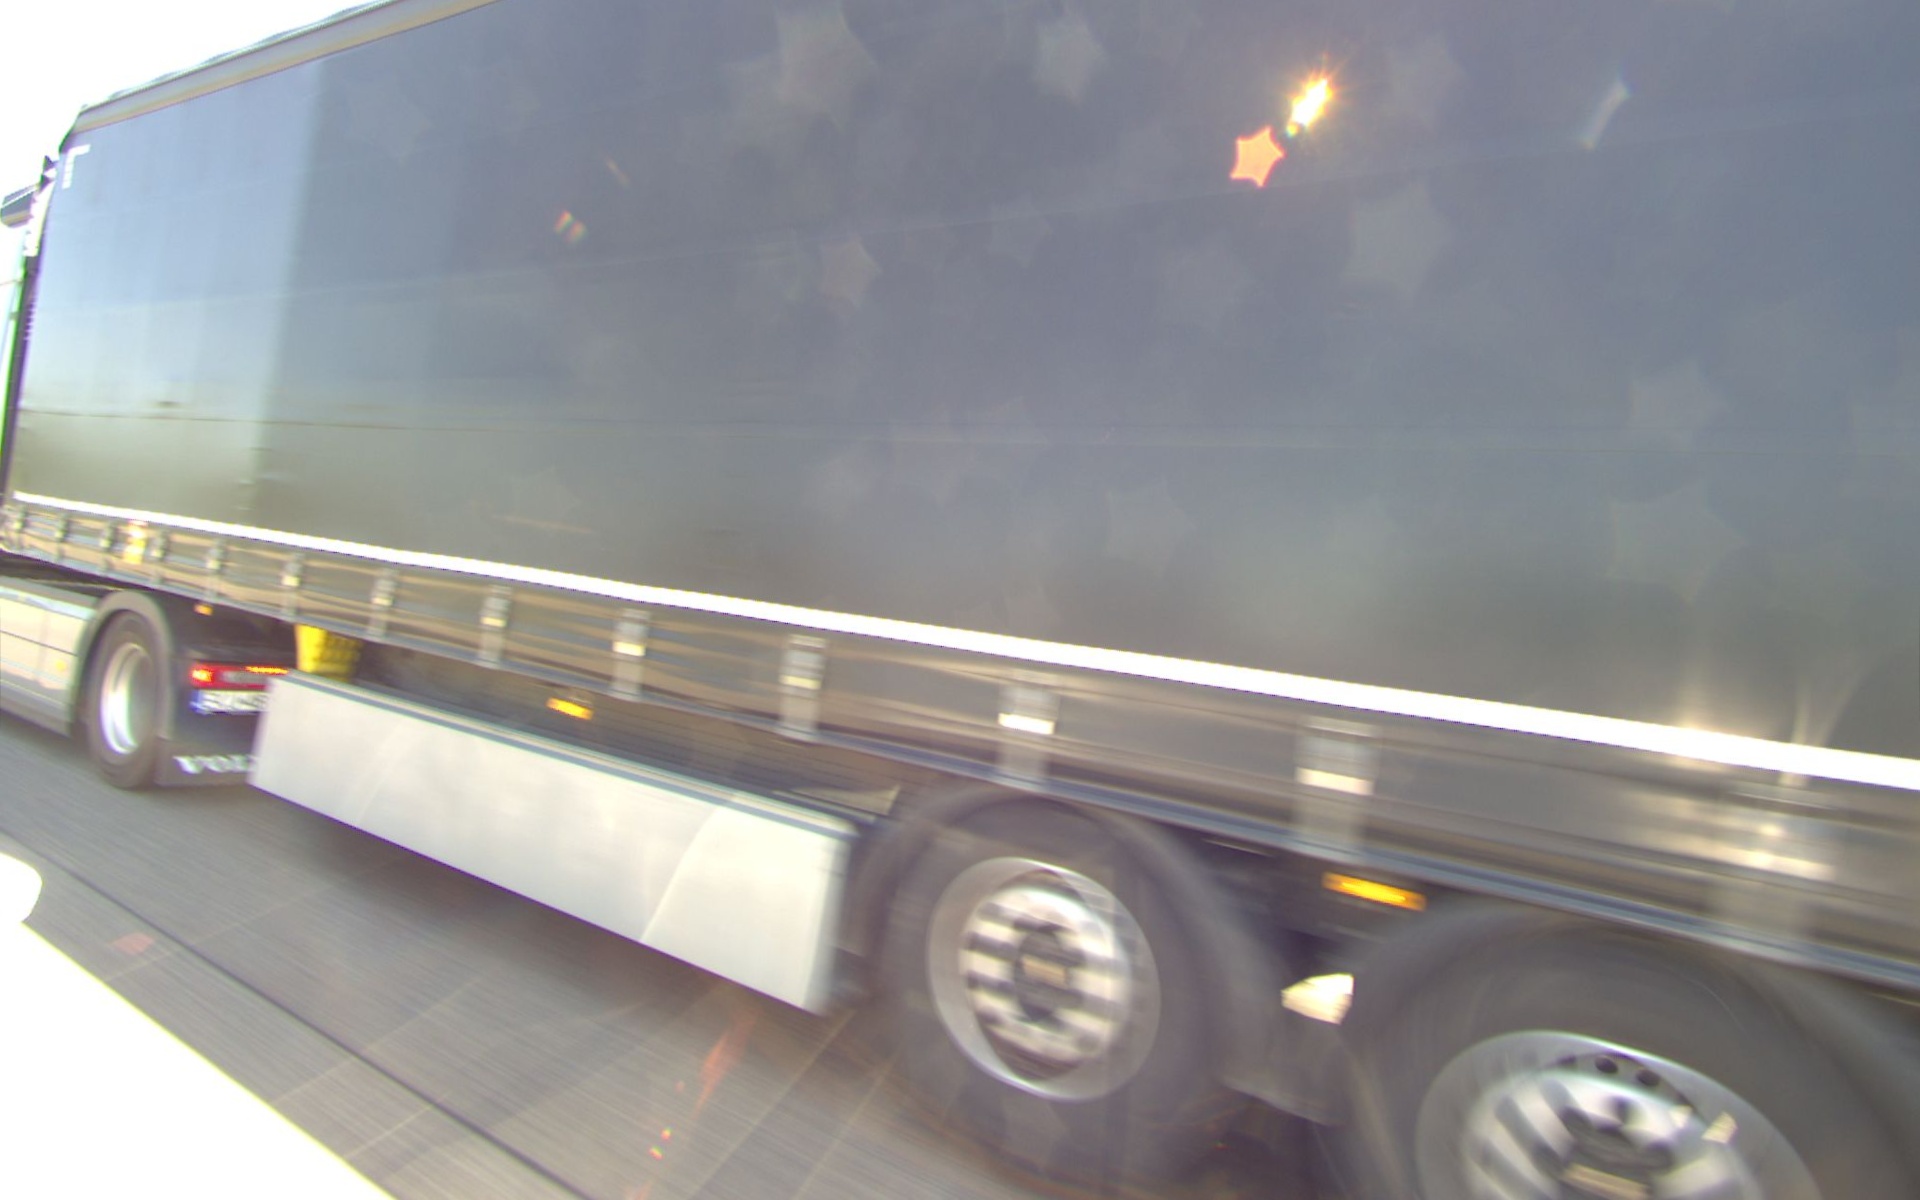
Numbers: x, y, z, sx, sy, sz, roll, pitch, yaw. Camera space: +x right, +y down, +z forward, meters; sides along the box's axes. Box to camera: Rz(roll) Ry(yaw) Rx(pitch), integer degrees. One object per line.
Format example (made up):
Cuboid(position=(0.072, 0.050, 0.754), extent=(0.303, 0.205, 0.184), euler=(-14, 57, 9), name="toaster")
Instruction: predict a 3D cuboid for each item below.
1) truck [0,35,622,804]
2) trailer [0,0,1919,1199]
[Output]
Cuboid(position=(-6.082, -1.121, 7.971), extent=(6.405, 4.001, 2.557), euler=(7, -1, 32), name="truck")
Cuboid(position=(0.586, -0.372, 3.788), extent=(13.314, 4.001, 2.557), euler=(6, -1, 32), name="trailer")
